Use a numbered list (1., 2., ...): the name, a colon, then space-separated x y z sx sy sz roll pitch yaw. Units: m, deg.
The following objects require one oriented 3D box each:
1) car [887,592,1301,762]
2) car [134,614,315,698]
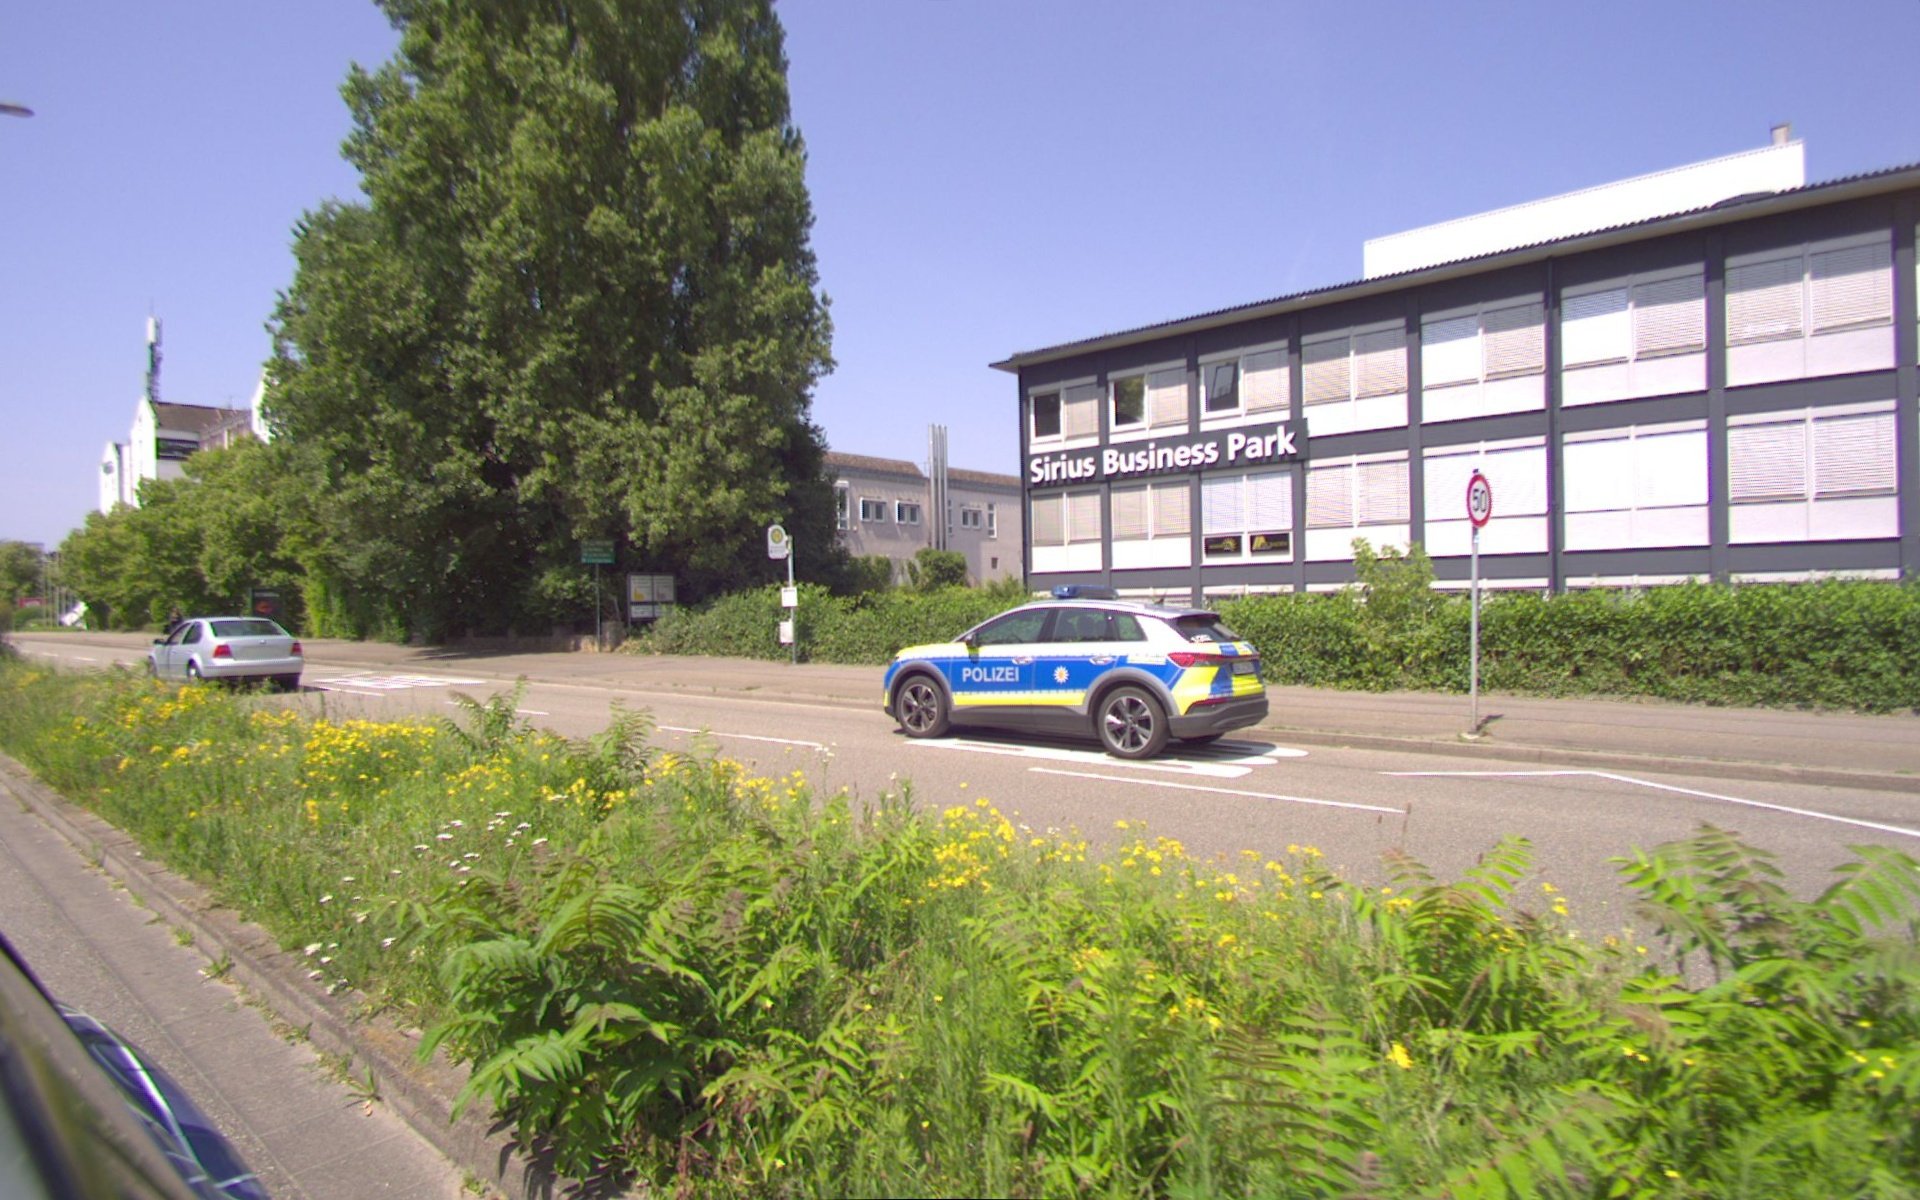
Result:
1. car: 1.399 0.747 11.400 4.279 1.572 1.876 -1 -1 37
2. car: -14.476 1.021 19.855 4.084 1.429 1.743 0 0 37
